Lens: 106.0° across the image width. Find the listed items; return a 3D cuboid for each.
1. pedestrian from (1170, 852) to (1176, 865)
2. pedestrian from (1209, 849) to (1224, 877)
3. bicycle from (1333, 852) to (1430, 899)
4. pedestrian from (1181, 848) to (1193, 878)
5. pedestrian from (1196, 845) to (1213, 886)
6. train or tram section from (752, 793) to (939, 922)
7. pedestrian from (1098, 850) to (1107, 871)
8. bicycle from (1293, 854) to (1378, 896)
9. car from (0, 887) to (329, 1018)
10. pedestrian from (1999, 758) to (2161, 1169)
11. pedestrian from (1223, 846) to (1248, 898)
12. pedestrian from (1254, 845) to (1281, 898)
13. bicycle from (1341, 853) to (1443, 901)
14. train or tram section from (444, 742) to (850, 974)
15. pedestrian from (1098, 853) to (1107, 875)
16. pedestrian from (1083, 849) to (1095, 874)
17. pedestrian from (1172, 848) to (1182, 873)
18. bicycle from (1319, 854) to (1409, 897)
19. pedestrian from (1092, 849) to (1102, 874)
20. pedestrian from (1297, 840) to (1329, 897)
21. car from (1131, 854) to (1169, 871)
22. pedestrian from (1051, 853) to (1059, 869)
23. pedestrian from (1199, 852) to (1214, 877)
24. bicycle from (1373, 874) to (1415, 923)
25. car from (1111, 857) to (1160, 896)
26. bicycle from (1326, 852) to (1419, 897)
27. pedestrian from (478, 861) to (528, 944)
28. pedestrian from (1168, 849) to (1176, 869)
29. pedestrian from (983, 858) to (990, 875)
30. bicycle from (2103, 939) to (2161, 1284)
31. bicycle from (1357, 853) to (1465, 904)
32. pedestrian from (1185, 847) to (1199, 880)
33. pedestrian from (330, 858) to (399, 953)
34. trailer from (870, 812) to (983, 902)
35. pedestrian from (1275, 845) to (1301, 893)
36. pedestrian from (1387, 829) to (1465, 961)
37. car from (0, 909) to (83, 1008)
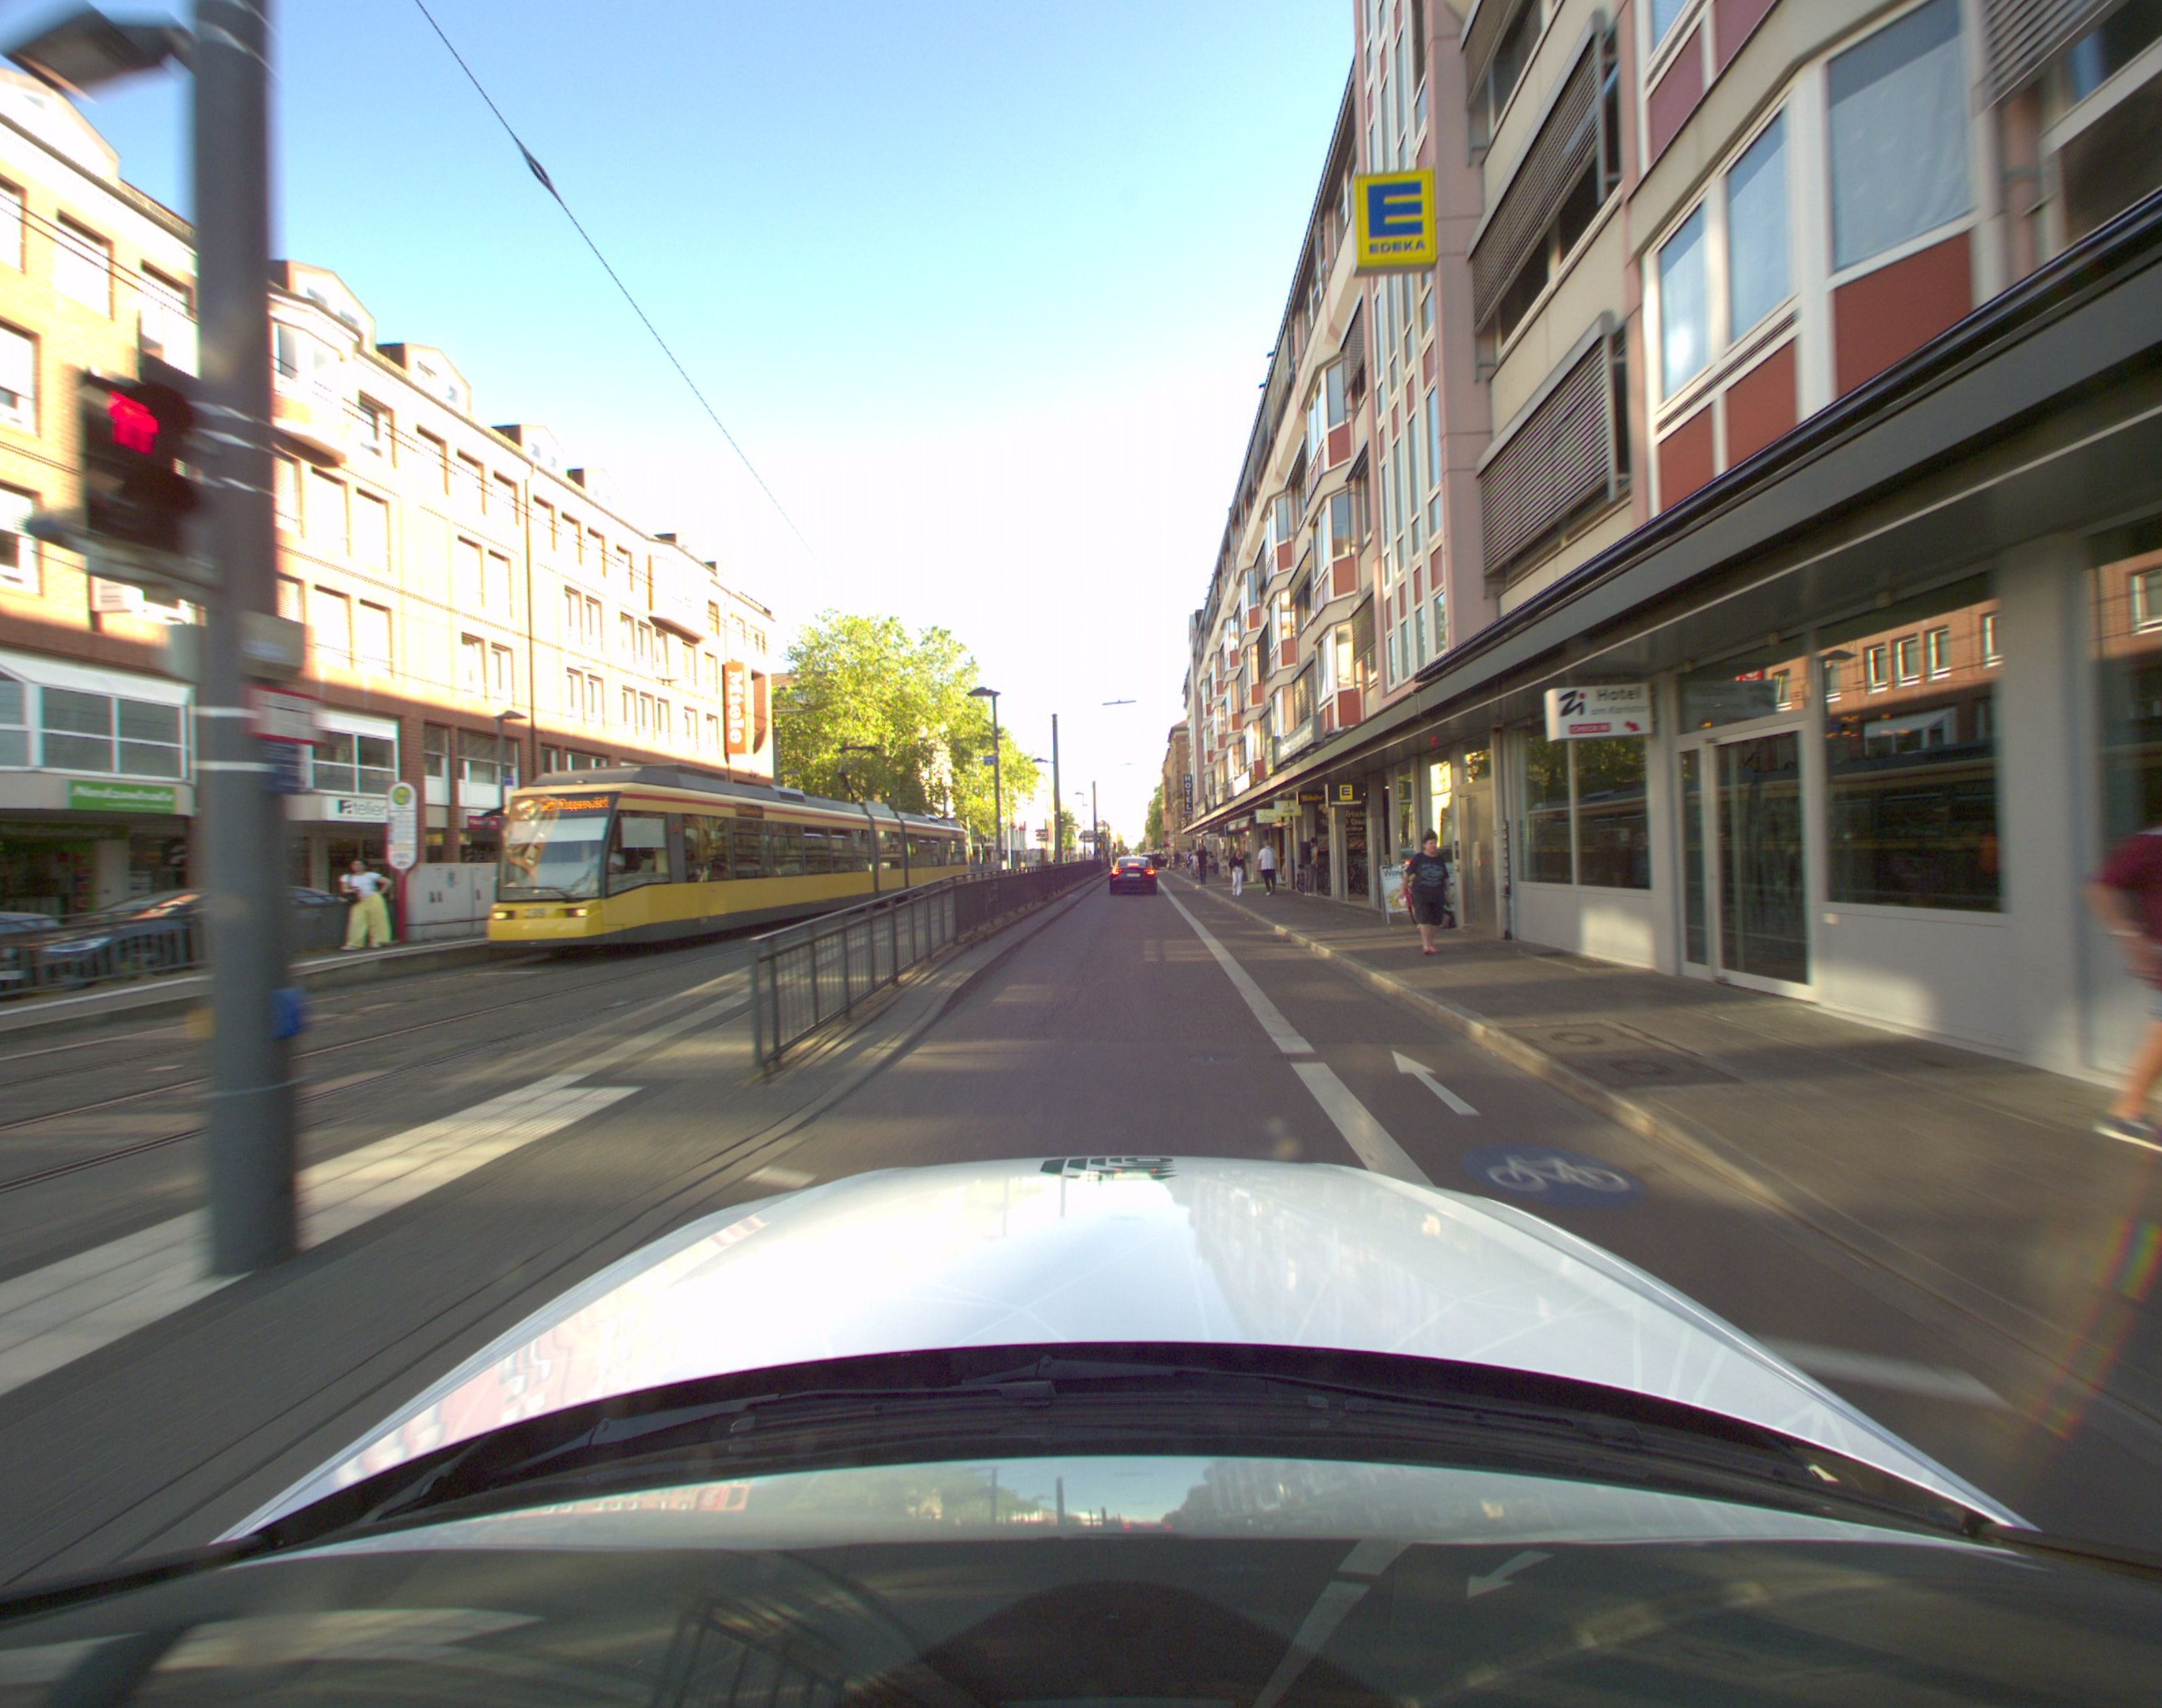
[{"bbox_3d":[13.661,0.723,120.887,0.693,1.878,0.751,-2,-1,5],"label":"pedestrian"},{"bbox_3d":[8.606,0.581,51.698,0.838,1.756,0.788,-2,-1,4],"label":"pedestrian"},{"bbox_3d":[8.478,0.603,23.007,2.419,1.217,0.796,-2,-1,1],"label":"bicycle"},{"bbox_3d":[6.723,0.570,51.715,0.693,1.896,0.751,-2,-1,4],"label":"pedestrian"},{"bbox_3d":[5.776,0.535,38.049,0.693,1.896,0.751,-2,-1,4],"label":"pedestrian"},{"bbox_3d":[-7.486,0.122,27.854,2.701,3.546,10.179,-2,0,4],"label":"train or tram section"},{"bbox_3d":[1.836,0.581,69.207,0.676,1.770,0.663,-2,-1,1],"label":"pedestrian"},{"bbox_3d":[8.027,0.659,25.766,2.419,1.217,0.829,-2,-1,1],"label":"bicycle"},{"bbox_3d":[-14.384,1.403,12.608,1.810,1.544,3.793,-4,0,2],"label":"car"},{"bbox_3d":[4.730,0.444,3.551,0.686,1.688,0.669,-2,-1,-11],"label":"pedestrian"},{"bbox_3d":[5.156,0.602,27.252,0.693,1.677,0.751,-2,-1,4],"label":"pedestrian"},{"bbox_3d":[6.045,0.569,26.465,0.693,1.677,0.751,-2,-1,4],"label":"pedestrian"},{"bbox_3d":[8.444,0.622,22.176,2.419,1.217,0.796,-2,-1,1],"label":"bicycle"},{"bbox_3d":[-8.217,0.087,17.728,2.717,3.542,10.098,-2,0,4],"label":"train or tram section"},{"bbox_3d":[1.747,0.823,66.501,0.676,1.770,0.663,-2,-1,1],"label":"pedestrian"},{"bbox_3d":[0.564,0.560,58.423,0.754,1.770,0.699,-2,-1,2],"label":"pedestrian"},{"bbox_3d":[7.652,0.512,64.754,0.693,1.896,0.751,-2,-1,4],"label":"pedestrian"},{"bbox_3d":[8.565,0.643,24.685,2.419,1.217,0.796,-2,-1,1],"label":"bicycle"},{"bbox_3d":[1.198,0.548,59.924,0.676,1.770,0.663,-2,-1,1],"label":"pedestrian"},{"bbox_3d":[6.905,0.429,24.299,0.744,1.677,0.700,-2,-1,4],"label":"pedestrian"},{"bbox_3d":[7.340,0.875,86.477,3.695,1.664,1.738,-2,0,-9],"label":"car"},{"bbox_3d":[-3.261,0.893,102.712,0.742,1.896,0.701,-2,-1,10],"label":"pedestrian"},{"bbox_3d":[8.109,0.666,52.721,0.838,1.607,0.788,-2,-1,4],"label":"pedestrian"},{"bbox_3d":[5.994,0.836,15.648,0.412,0.857,1.239,-2,0,6],"label":"bicycle"},{"bbox_3d":[2.190,0.894,32.456,1.782,1.451,3.944,-1,-1,4],"label":"car"},{"bbox_3d":[8.504,0.590,23.844,2.419,1.217,0.796,-2,-1,1],"label":"bicycle"},{"bbox_3d":[-11.063,0.911,15.605,0.585,1.531,0.633,-2,-1,-19],"label":"pedestrian"},{"bbox_3d":[8.636,0.490,77.221,0.693,1.896,0.751,-2,-1,4],"label":"pedestrian"},{"bbox_3d":[-10.766,1.413,92.826,0.745,1.896,0.698,-2,-1,-3],"label":"pedestrian"},{"bbox_3d":[4.013,0.840,1.819,0.489,1.102,2.113,-2,0,-15],"label":"bicycle"},{"bbox_3d":[8.437,0.615,20.894,2.419,1.217,0.796,-2,-1,1],"label":"bicycle"},{"bbox_3d":[6.562,0.564,48.089,0.693,1.896,0.751,-2,-1,4],"label":"pedestrian"},{"bbox_3d":[-12.143,0.861,13.816,0.631,1.564,0.587,-2,-1,9],"label":"pedestrian"},{"bbox_3d":[-6.822,0.140,37.563,2.701,3.546,9.368,-2,0,4],"label":"trailer"},{"bbox_3d":[7.440,0.537,29.335,0.735,1.653,0.719,-2,-1,1],"label":"pedestrian"},{"bbox_3d":[4.564,0.526,10.824,0.693,1.677,0.751,-2,-1,4],"label":"pedestrian"},{"bbox_3d":[-17.352,1.672,11.362,1.810,1.454,3.979,-4,0,2],"label":"car"}]
